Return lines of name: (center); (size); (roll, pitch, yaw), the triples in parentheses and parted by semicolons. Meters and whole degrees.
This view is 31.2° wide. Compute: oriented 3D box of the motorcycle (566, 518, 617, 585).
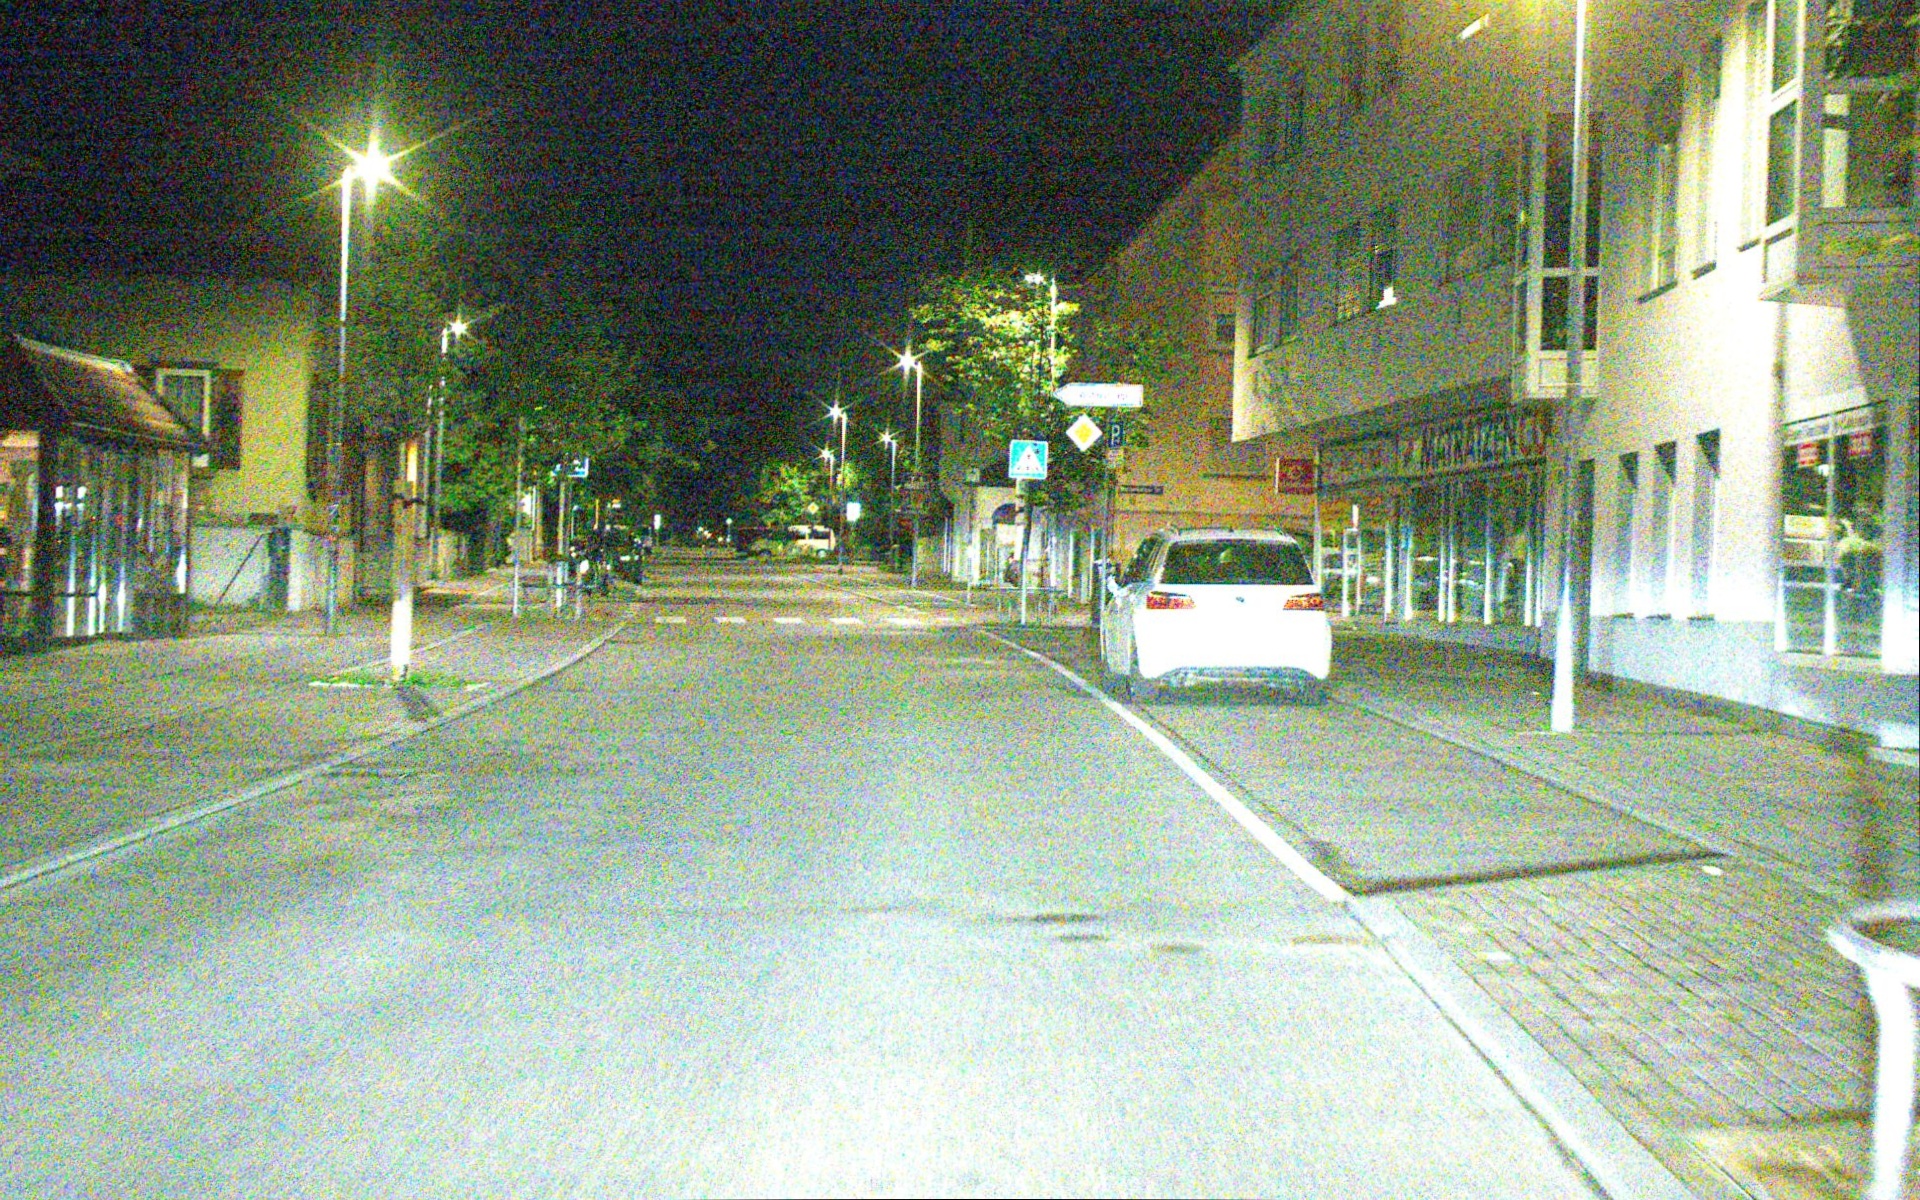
motorcycle: (-8.125, -1.067, 75.915); (0.746, 1.447, 2.195); (1, 1, 4)

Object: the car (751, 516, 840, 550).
car: (-9.749, -3.978, 203.832); (5.181, 2.007, 2.102); (0, 1, -6)

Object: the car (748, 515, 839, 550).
car: (-9.748, -3.940, 200.757); (5.181, 2.007, 2.102); (0, 1, -6)

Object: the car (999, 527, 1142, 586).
car: (2.956, -1.166, 92.555); (3.711, 1.468, 1.731); (2, 1, -2)

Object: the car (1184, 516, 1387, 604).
car: (6.153, -0.775, 65.254); (3.505, 1.519, 1.821); (-2, 1, -5)

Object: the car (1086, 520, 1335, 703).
car: (2.241, 0.061, 31.795); (1.742, 1.563, 4.209); (0, 1, -3)

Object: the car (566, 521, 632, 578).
car: (-9.989, -1.419, 95.338); (1.688, 1.505, 4.279); (1, 1, -4)

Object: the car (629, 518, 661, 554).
car: (-20.458, -4.150, 223.194); (1.824, 1.980, 4.466); (3, -2, -6)
